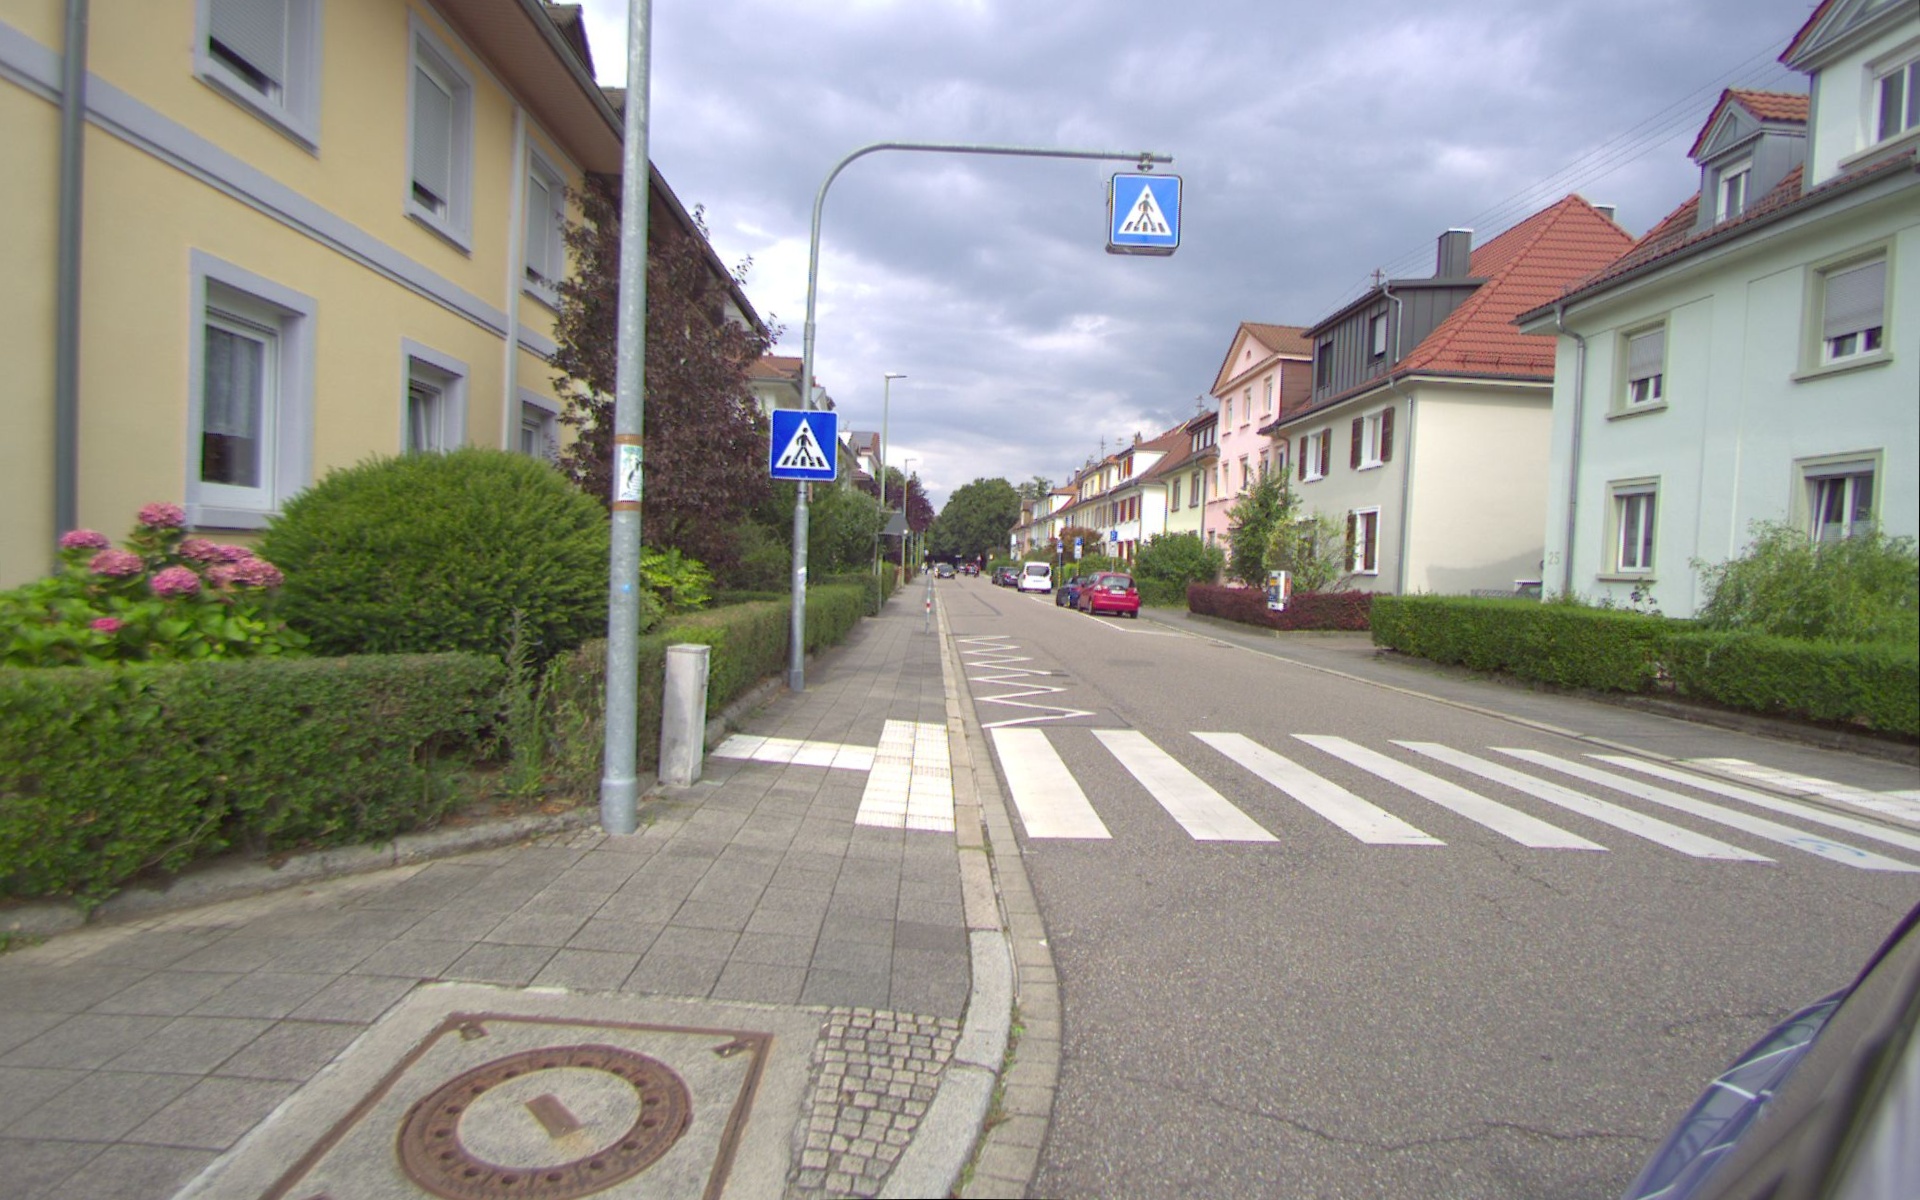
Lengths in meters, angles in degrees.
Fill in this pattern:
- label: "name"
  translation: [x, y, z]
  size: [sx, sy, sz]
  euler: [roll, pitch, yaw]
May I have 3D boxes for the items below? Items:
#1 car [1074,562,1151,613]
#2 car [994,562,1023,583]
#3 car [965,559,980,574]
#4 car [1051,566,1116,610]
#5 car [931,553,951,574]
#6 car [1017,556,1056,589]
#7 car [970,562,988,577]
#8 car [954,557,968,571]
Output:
- label: "car"
  translation: [5.335, -0.489, 35.896]
  size: [1.961, 1.593, 4.003]
  euler: [2, 2, -2]
- label: "car"
  translation: [3.808, -2.201, 79.985]
  size: [1.961, 1.593, 4.003]
  euler: [2, 2, -2]
- label: "car"
  translation: [1.740, -4.714, 142.226]
  size: [1.962, 2.038, 4.002]
  euler: [4, 2, -1]
- label: "car"
  translation: [4.947, -0.545, 41.122]
  size: [1.961, 1.593, 4.003]
  euler: [2, 2, -2]
- label: "car"
  translation: [-1.976, -3.808, 104.035]
  size: [1.961, 2.038, 4.003]
  euler: [2, 2, -2]
- label: "car"
  translation: [4.791, -1.767, 64.070]
  size: [1.961, 1.927, 4.003]
  euler: [2, 2, -2]
- label: "car"
  translation: [2.480, -3.944, 130.207]
  size: [1.700, 1.726, 4.007]
  euler: [4, 2, -7]
- label: "car"
  translation: [0.146, -5.740, 160.964]
  size: [1.961, 2.038, 4.004]
  euler: [2, 2, -3]
